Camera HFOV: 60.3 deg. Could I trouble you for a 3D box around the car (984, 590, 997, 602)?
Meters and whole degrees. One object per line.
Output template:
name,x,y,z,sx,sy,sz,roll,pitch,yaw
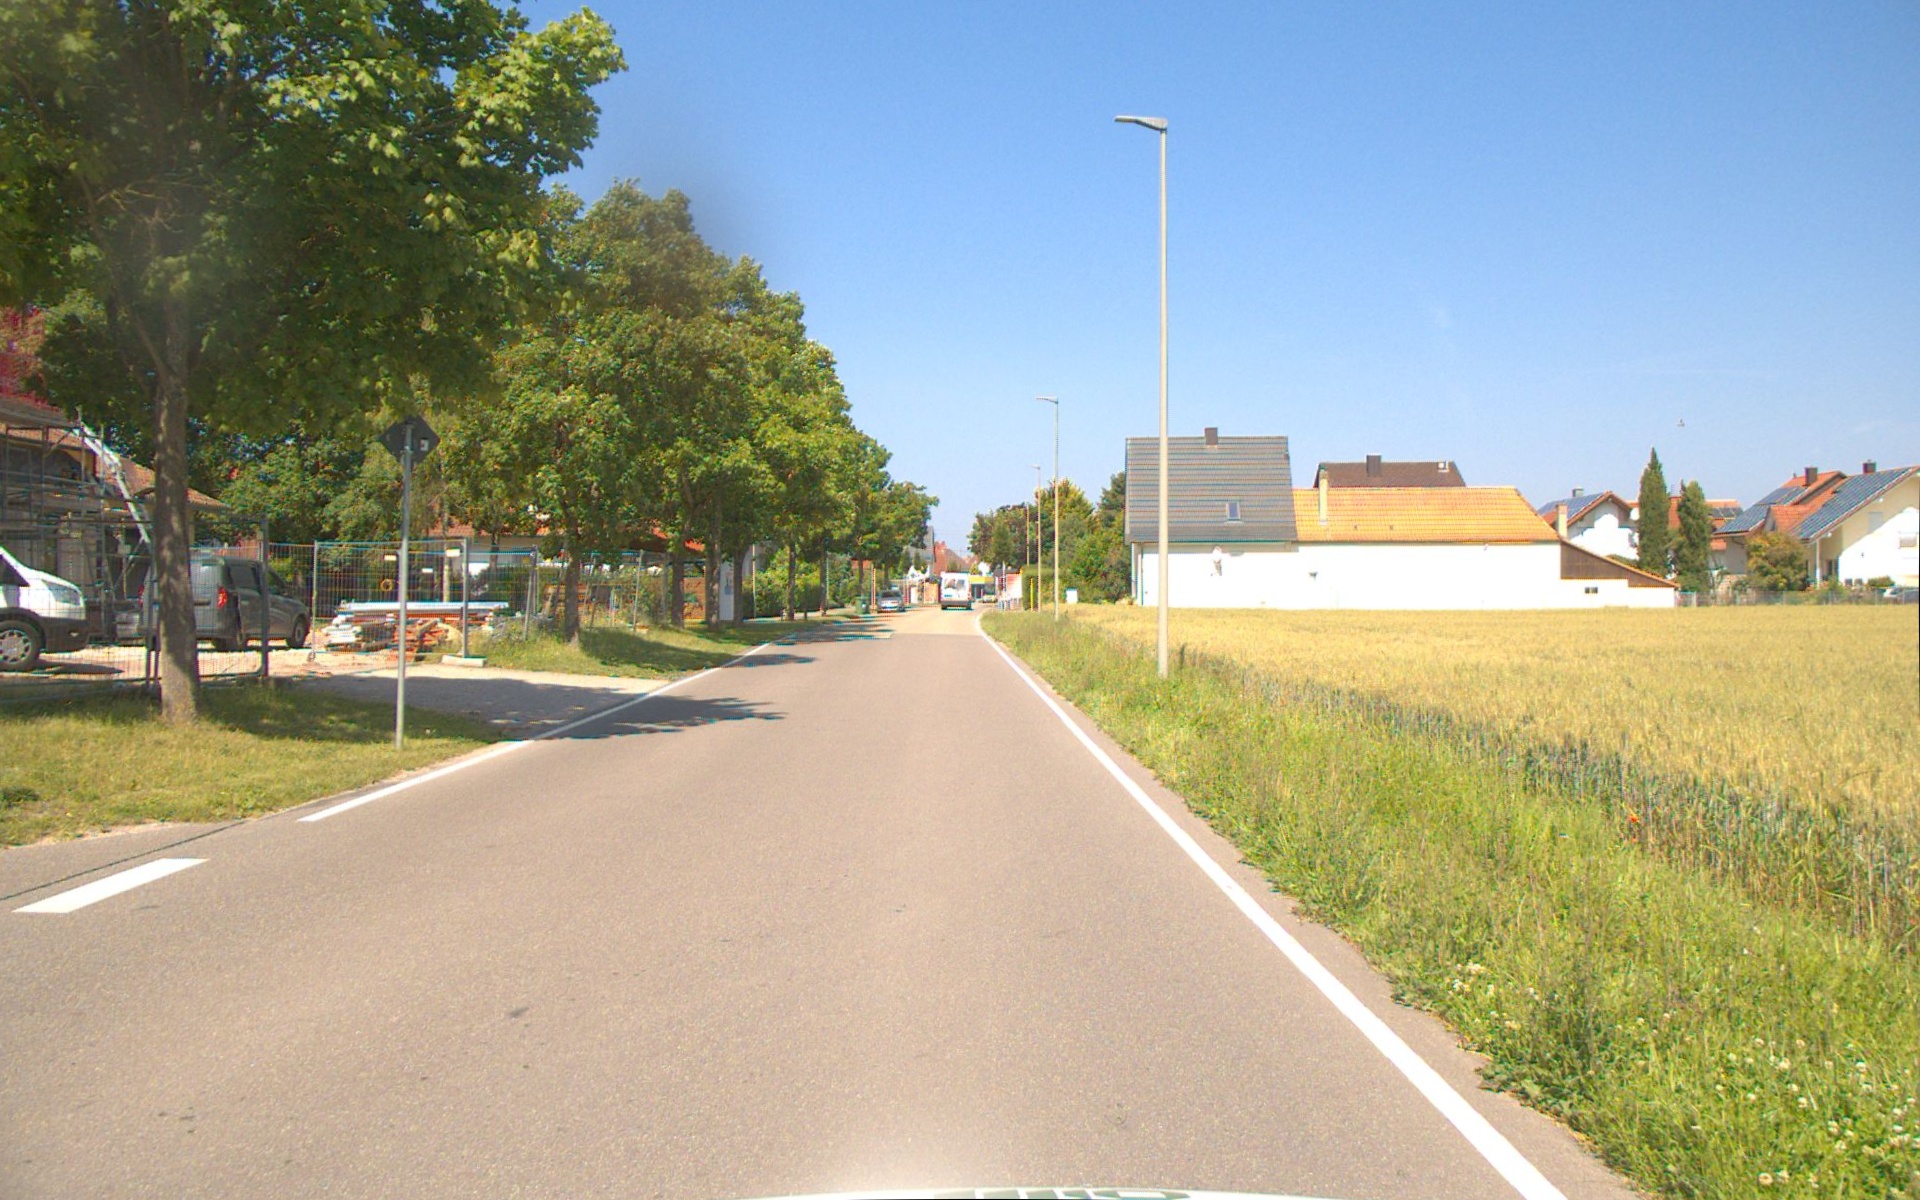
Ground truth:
car,4.069,-0.584,222.033,1.632,1.550,3.441,-2,0,-2

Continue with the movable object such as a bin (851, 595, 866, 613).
movable object such as a bin,-6.210,0.265,101.225,0.699,1.097,0.639,-1,0,26

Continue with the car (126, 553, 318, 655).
car,-14.501,0.059,32.791,1.930,1.870,4.327,0,0,-1

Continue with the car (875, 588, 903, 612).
car,-4.554,0.011,106.689,1.614,1.448,4.079,-3,0,-1

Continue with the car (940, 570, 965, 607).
car,-0.544,-0.787,114.468,1.702,2.474,4.373,-1,0,-1

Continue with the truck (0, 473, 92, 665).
truck,-14.708,-0.407,21.464,5.871,2.527,1.973,0,0,-38
